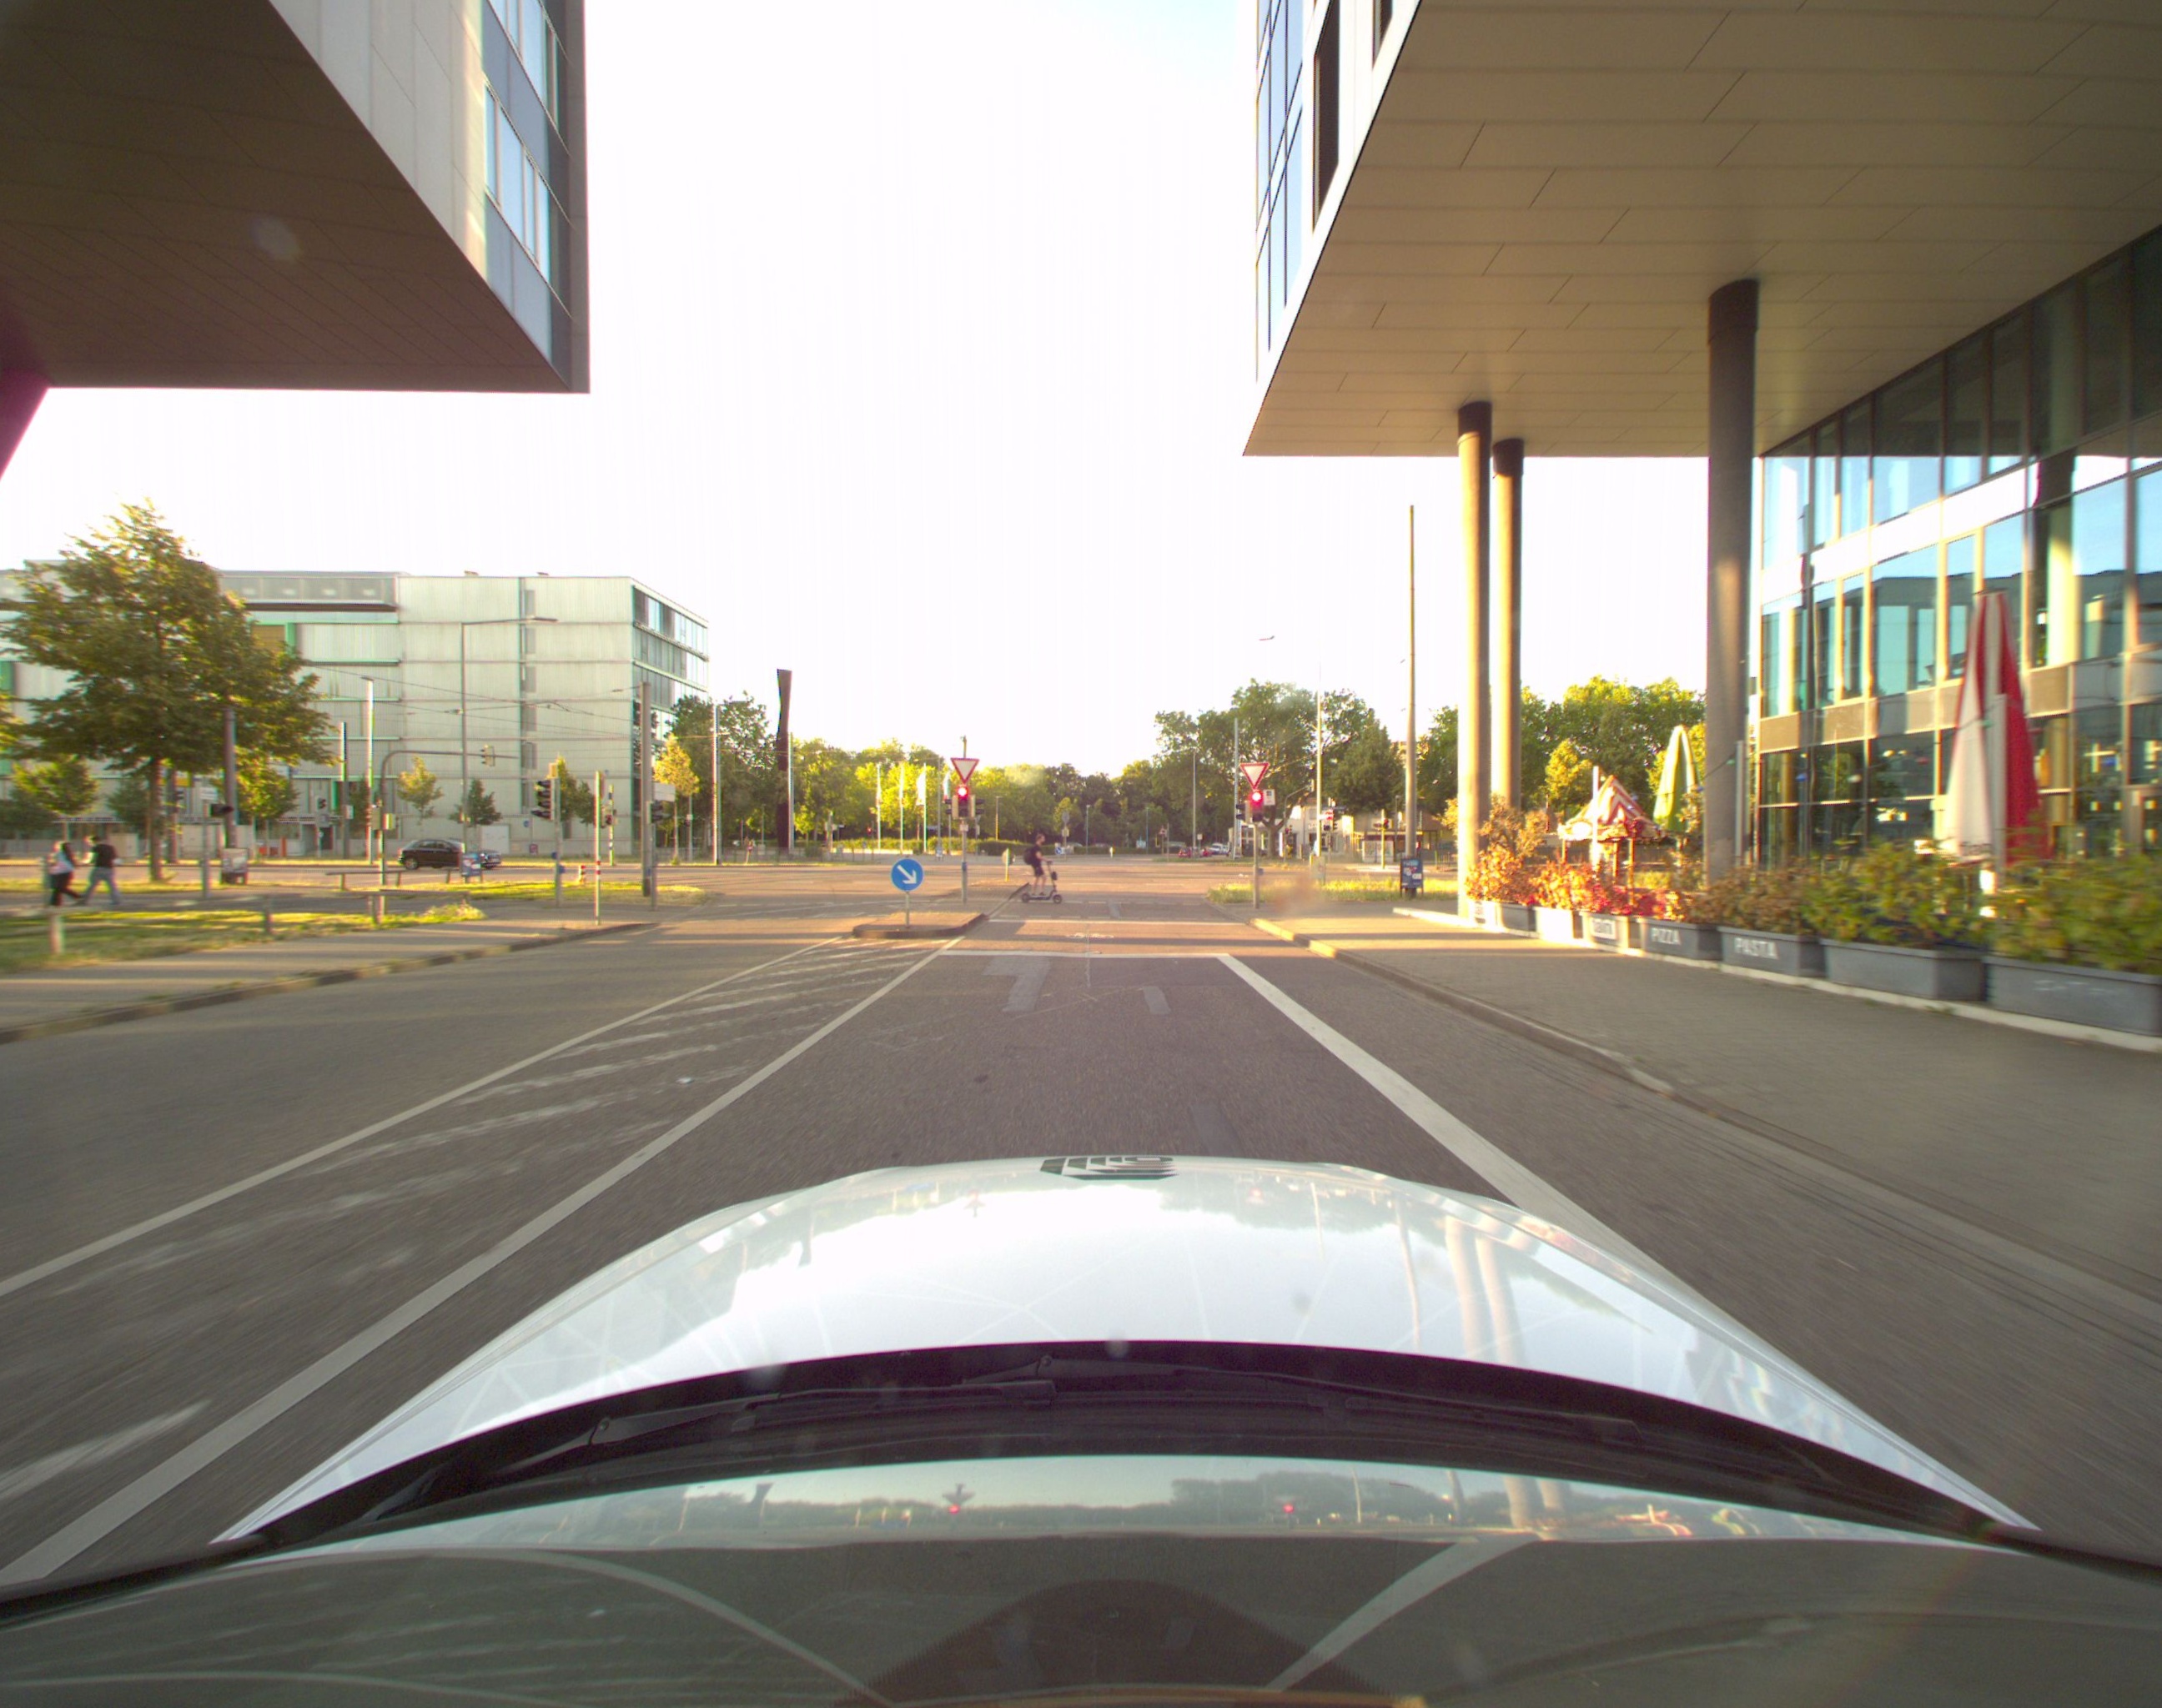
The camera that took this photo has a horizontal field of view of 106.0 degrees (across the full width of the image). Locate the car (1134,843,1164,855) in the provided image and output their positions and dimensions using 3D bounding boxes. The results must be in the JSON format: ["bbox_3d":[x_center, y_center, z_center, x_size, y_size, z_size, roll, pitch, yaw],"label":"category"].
[{"bbox_3d":[10.880,-0.873,130.123,4.658,1.869,2.018,0,2,8],"label":"car"}]

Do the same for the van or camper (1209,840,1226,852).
[{"bbox_3d":[23.123,-1.392,137.910,1.609,1.981,3.831,1,2,31],"label":"van or camper"}]

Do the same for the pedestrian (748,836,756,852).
[{"bbox_3d":[-41.114,-1.221,101.738,0.690,2.013,0.702,0,1,21],"label":"pedestrian"}]

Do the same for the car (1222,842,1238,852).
[{"bbox_3d":[22.300,-1.060,121.974,1.483,1.477,3.103,1,2,28],"label":"car"}]

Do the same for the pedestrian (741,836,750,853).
[{"bbox_3d":[-41.474,-1.196,100.774,0.690,2.013,0.702,0,1,21],"label":"pedestrian"}]

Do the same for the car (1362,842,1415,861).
[{"bbox_3d":[29.777,-0.276,78.917,4.448,1.816,1.947,0,2,3],"label":"car"}]

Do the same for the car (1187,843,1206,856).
[{"bbox_3d":[15.179,-0.587,106.791,1.483,1.606,3.424,0,2,28],"label":"car"}]

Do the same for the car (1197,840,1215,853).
[{"bbox_3d":[16.967,-1.003,110.430,1.483,1.606,3.424,0,2,28],"label":"car"}]

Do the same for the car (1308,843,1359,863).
[{"bbox_3d":[24.669,-0.116,79.662,4.448,1.816,1.947,0,2,3],"label":"car"}]

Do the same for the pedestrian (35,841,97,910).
[{"bbox_3d":[-24.807,0.511,19.915,0.680,1.624,0.715,0,1,19],"label":"pedestrian"}]

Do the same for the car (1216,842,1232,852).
[{"bbox_3d":[24.917,-1.227,141.671,1.483,1.606,3.425,1,2,31],"label":"car"}]

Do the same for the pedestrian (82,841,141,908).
[{"bbox_3d":[-24.607,0.500,20.680,0.694,1.663,0.715,0,1,19],"label":"pedestrian"}]

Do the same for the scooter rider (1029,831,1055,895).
[{"bbox_3d":[-1.091,0.244,22.763,0.704,1.782,0.442,0,1,-3],"label":"scooter rider"}]

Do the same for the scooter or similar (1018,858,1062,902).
[{"bbox_3d":[-1.130,0.727,22.778,1.210,1.200,0.503,0,1,-3],"label":"scooter or similar"}]

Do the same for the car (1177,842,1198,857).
[{"bbox_3d":[13.502,-0.623,103.221,1.483,1.760,3.424,0,2,28],"label":"car"}]

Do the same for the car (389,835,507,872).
[{"bbox_3d":[-32.301,-0.036,41.634,4.453,1.816,1.945,0,2,0],"label":"car"}]

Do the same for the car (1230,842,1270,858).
[{"bbox_3d":[19.967,-0.479,96.321,4.443,1.816,1.949,0,2,7],"label":"car"}]
